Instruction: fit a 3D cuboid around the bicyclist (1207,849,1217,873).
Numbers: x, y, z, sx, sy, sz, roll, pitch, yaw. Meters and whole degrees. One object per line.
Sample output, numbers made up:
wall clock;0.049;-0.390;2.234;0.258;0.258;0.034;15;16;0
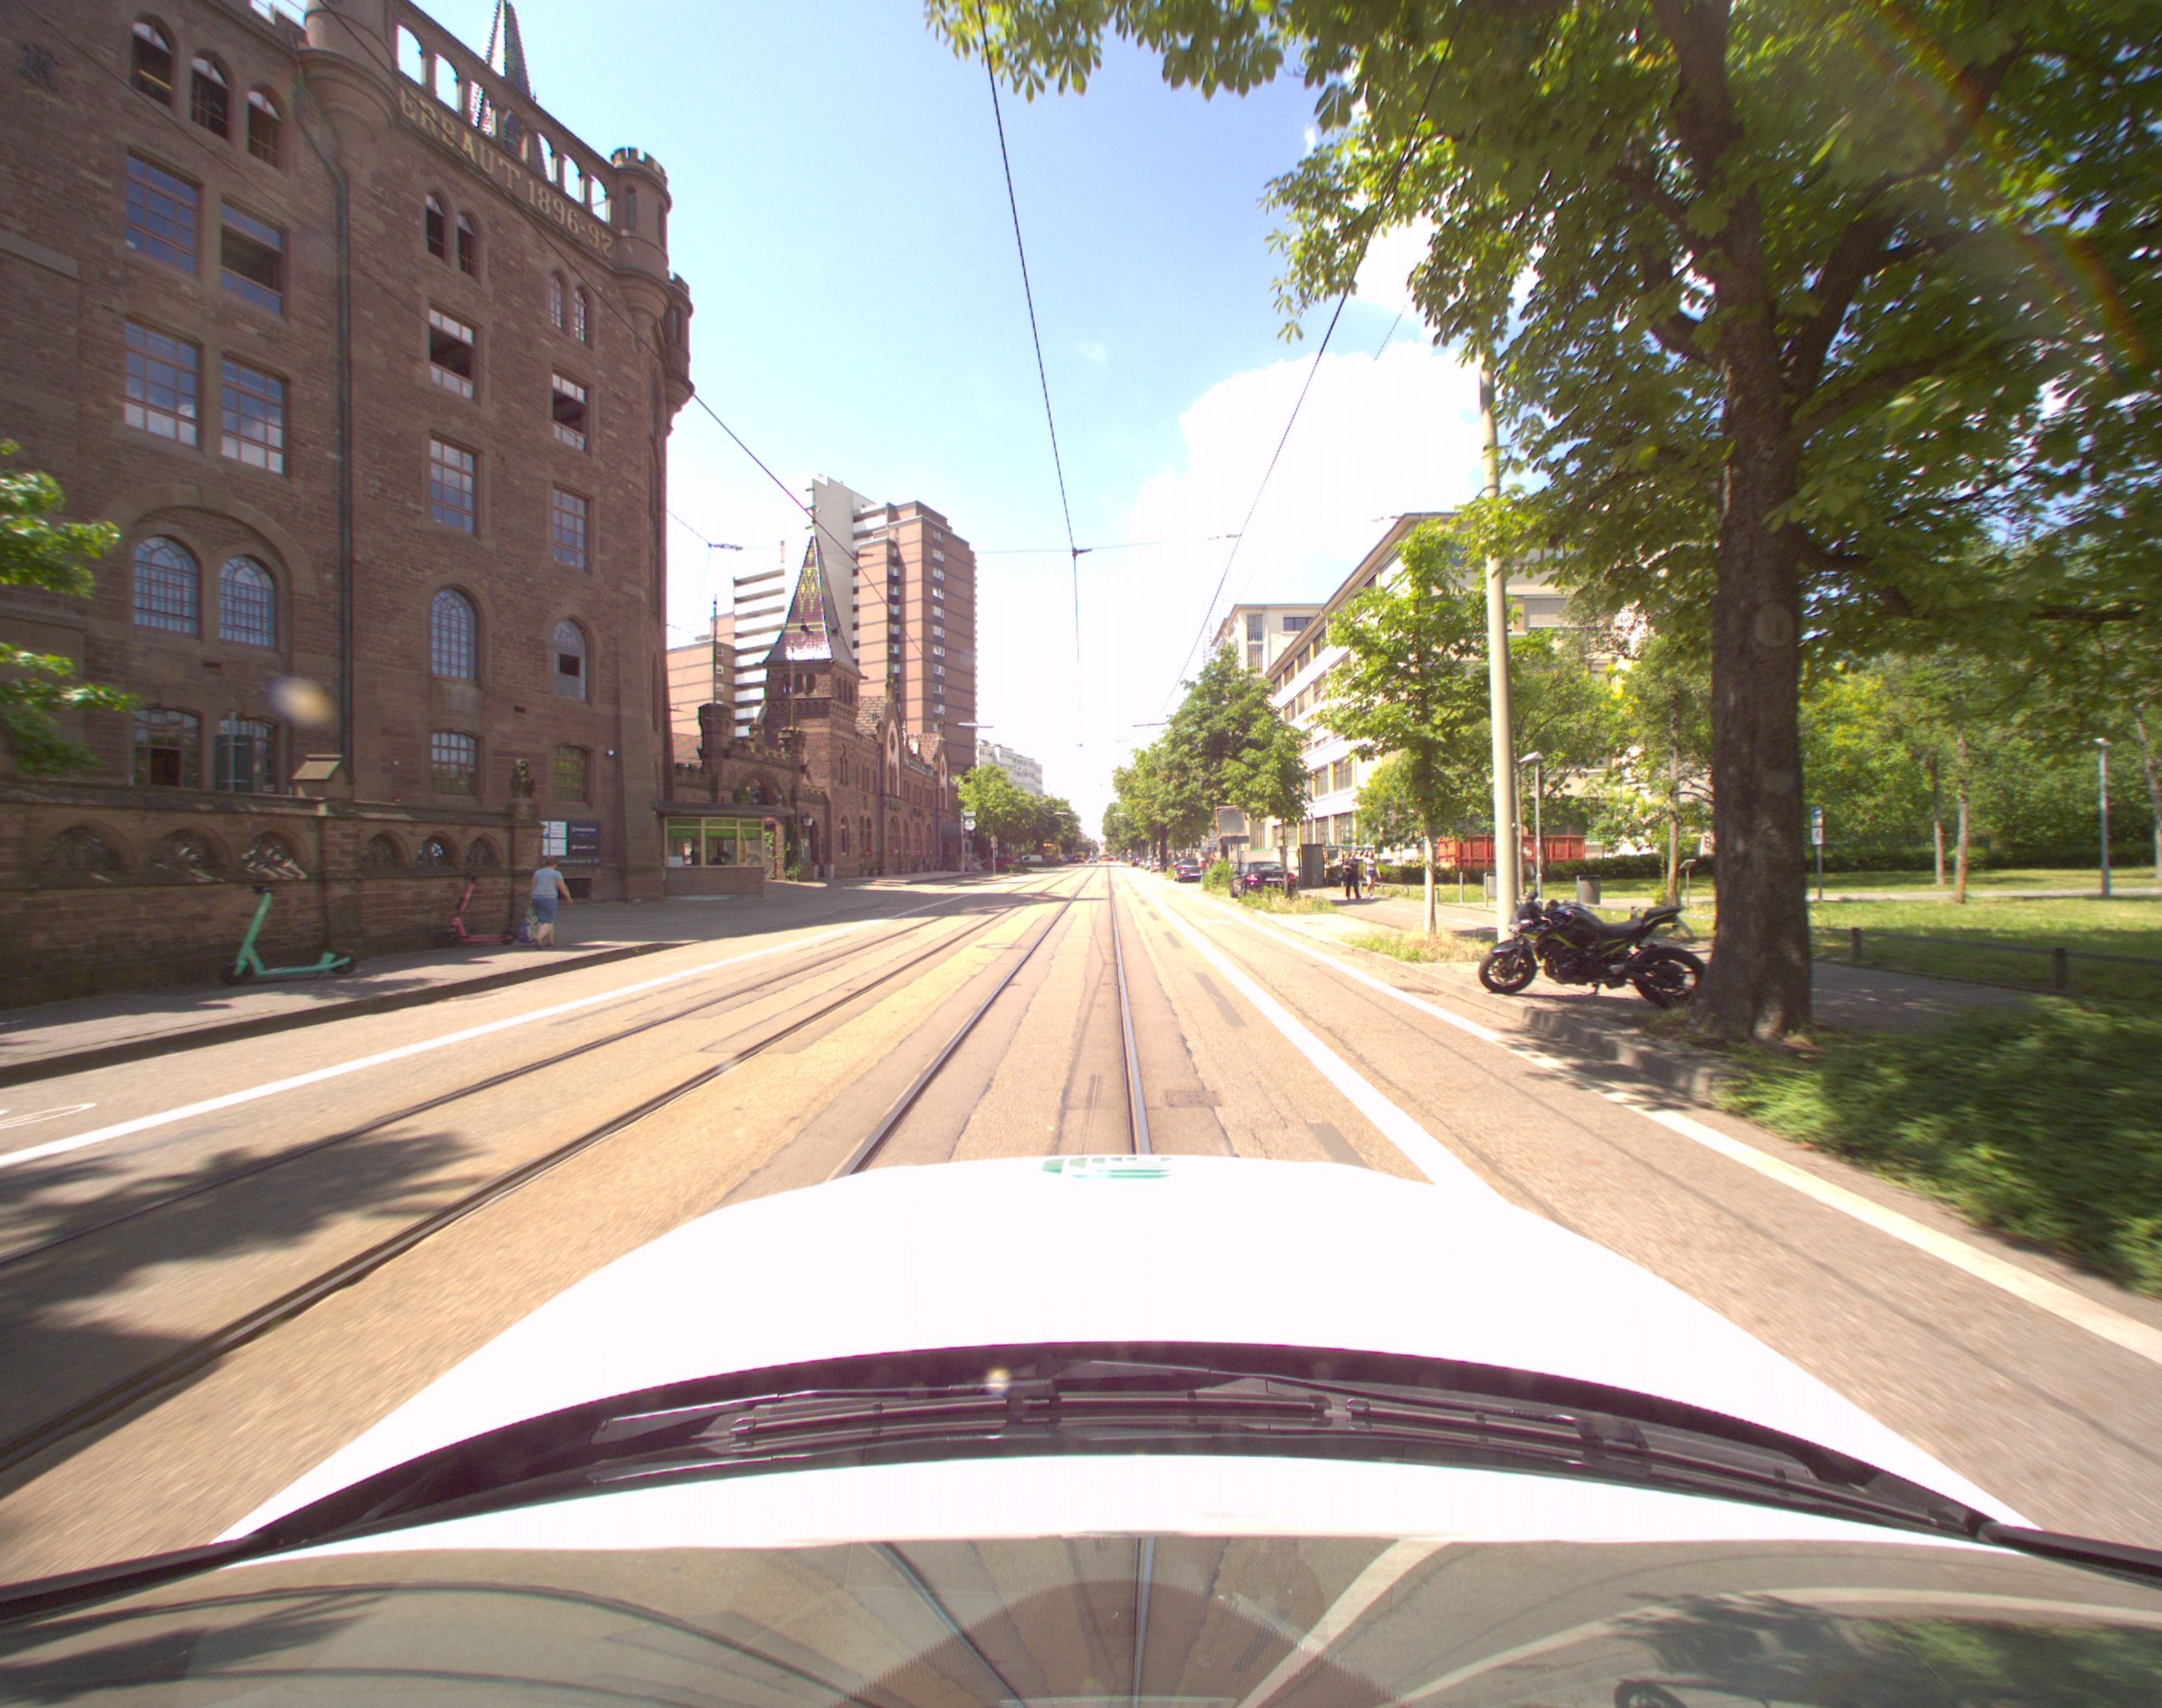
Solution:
bicyclist;9.228;0.516;57.276;0.578;1.648;0.599;-3;-1;1

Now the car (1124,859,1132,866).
car;10.782;1.918;187.612;1.634;1.485;3.870;-2;-1;-1

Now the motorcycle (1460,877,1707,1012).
motorcycle;5.035;0.850;8.271;2.035;1.213;0.617;-2;-2;41

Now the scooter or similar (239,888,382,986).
scooter or similar;-9.521;0.997;10.103;1.232;1.127;0.344;3;-2;-45

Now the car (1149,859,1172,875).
car;7.776;1.248;79.907;1.666;1.499;4.363;-1;0;-1

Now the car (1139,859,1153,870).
car;8.978;1.491;112.844;1.817;1.471;4.490;-1;0;3

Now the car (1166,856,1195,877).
car;7.253;0.882;59.605;1.665;1.489;3.981;-1;0;1

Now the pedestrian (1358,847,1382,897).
pedestrian;9.232;0.579;26.025;0.511;1.573;0.545;-2;-1;2

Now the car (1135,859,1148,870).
car;9.215;1.585;123.614;1.816;1.471;4.405;-1;0;4

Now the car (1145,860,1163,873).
car;8.289;1.408;92.850;1.665;1.517;4.202;-1;0;1

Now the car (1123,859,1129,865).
car;12.518;2.194;228.624;1.586;1.617;3.908;-2;-1;1

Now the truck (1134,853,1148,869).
truck;9.868;1.132;134.275;2.007;2.489;5.957;-1;0;1

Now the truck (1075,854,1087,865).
truck;-0.009;1.370;203.755;2.350;2.852;7.384;-2;-1;4

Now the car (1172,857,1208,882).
car;6.591;0.901;49.673;1.665;1.408;4.749;-1;0;1

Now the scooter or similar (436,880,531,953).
scooter or similar;-9.934;1.012;13.568;0.325;1.127;1.230;0;-1;30

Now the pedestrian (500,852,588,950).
pedestrian;-9.076;0.773;13.802;0.796;1.589;0.920;2;0;1

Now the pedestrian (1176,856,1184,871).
pedestrian;10.937;1.043;90.061;0.796;1.589;0.919;-2;-1;1

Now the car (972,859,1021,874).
car;-8.876;1.325;85.604;4.790;1.566;1.984;0;-1;-27

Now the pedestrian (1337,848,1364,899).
pedestrian;8.592;0.608;26.011;0.616;1.573;0.611;-2;-1;2

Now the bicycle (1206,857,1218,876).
bicycle;9.237;0.876;57.365;0.552;1.265;1.774;-3;-1;2

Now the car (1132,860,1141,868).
car;10.404;1.870;153.817;1.637;1.534;3.788;-1;0;3

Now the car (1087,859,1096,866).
car;2.538;1.993;194.081;1.824;1.681;4.186;-1;0;2

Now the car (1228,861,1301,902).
car;6.147;0.874;27.619;1.744;1.270;3.835;0;0;2

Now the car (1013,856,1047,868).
car;-7.369;1.198;118.363;4.562;1.791;1.882;1;-1;-31

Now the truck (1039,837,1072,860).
truck;-4.561;-0.900;147.596;2.695;3.842;11.009;0;-1;16

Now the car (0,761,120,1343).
car;-4.337;0.612;0.697;1.897;1.788;4.257;-1;0;2

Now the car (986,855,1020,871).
car;-13.338;1.535;139.667;2.157;2.566;6.765;-1;-2;32

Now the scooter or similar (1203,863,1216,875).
scooter or similar;9.306;1.090;59.050;0.758;0.807;1.556;-3;-1;2
